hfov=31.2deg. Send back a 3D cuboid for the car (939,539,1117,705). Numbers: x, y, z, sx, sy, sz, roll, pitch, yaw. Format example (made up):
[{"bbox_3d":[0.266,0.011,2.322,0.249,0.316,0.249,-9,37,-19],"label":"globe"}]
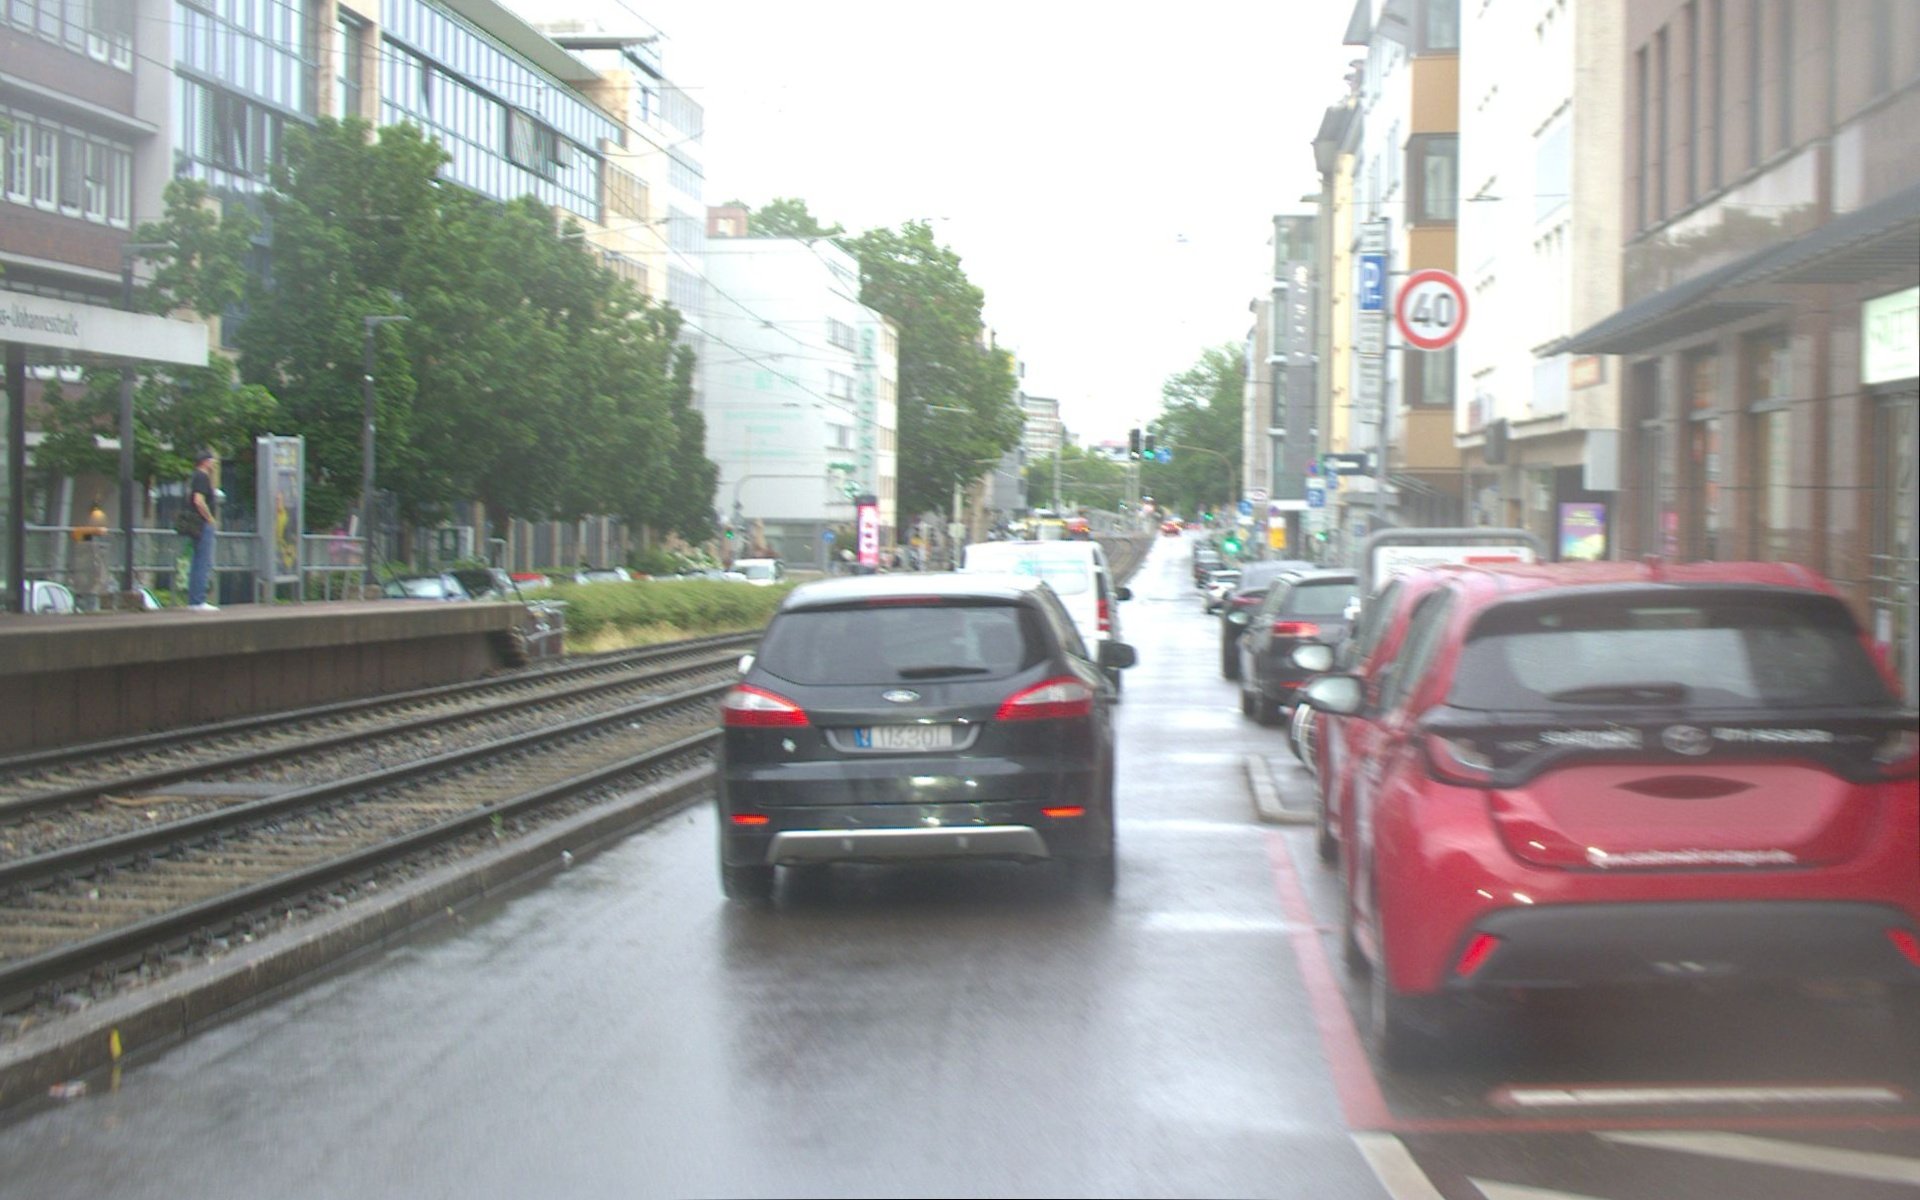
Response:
[{"bbox_3d":[0.871,0.226,40.977,1.907,1.858,4.573,0,0,4],"label":"car"}]

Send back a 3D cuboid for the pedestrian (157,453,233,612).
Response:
[{"bbox_3d":[-8.759,-0.771,39.374,0.655,1.795,0.850,0,1,2],"label":"pedestrian"}]

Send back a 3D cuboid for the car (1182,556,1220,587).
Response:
[{"bbox_3d":[12.744,-1.496,181.715,1.907,1.628,4.573,0,0,5],"label":"car"}]

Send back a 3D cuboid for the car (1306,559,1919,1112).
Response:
[{"bbox_3d":[2.035,0.635,11.337,1.699,1.474,3.866,-2,0,5],"label":"car"}]

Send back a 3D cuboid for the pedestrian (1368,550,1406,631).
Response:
[{"bbox_3d":[8.760,-0.207,70.572,0.695,1.646,0.965,0,1,3],"label":"pedestrian"}]

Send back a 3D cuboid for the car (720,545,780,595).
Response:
[{"bbox_3d":[-7.964,-1.148,130.713,1.906,1.858,4.574,0,0,1],"label":"car"}]

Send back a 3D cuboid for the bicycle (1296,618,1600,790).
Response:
[{"bbox_3d":[2.948,0.627,20.866,1.787,1.027,0.462,0,0,3],"label":"bicycle"}]

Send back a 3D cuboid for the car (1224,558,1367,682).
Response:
[{"bbox_3d":[4.665,0.236,48.349,1.807,1.626,5.169,0,1,3],"label":"car"}]

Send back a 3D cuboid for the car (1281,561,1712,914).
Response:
[{"bbox_3d":[2.465,0.574,16.587,1.699,1.457,3.866,-2,0,4],"label":"car"}]

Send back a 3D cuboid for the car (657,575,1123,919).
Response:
[{"bbox_3d":[-0.222,0.613,16.422,1.907,1.457,3.444,0,0,4],"label":"car"}]

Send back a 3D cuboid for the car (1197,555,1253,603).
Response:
[{"bbox_3d":[9.266,-0.725,119.884,1.907,1.628,4.573,0,0,5],"label":"car"}]

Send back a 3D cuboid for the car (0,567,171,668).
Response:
[{"bbox_3d":[-13.256,0.231,52.167,1.568,1.431,4.178,0,1,1],"label":"car"}]

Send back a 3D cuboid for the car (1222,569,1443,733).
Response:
[{"bbox_3d":[3.581,0.443,33.753,1.774,1.463,4.609,0,1,1],"label":"car"}]

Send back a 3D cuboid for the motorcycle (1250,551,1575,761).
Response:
[{"bbox_3d":[3.125,0.372,23.746,2.086,1.402,0.798,0,0,22],"label":"motorcycle"}]

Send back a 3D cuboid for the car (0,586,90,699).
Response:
[{"bbox_3d":[-13.328,0.547,47.374,1.568,1.431,4.238,0,1,1],"label":"car"}]

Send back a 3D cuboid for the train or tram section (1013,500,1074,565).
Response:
[{"bbox_3d":[4.954,-3.980,204.627,3.513,3.764,11.331,0,1,1],"label":"train or tram section"}]
